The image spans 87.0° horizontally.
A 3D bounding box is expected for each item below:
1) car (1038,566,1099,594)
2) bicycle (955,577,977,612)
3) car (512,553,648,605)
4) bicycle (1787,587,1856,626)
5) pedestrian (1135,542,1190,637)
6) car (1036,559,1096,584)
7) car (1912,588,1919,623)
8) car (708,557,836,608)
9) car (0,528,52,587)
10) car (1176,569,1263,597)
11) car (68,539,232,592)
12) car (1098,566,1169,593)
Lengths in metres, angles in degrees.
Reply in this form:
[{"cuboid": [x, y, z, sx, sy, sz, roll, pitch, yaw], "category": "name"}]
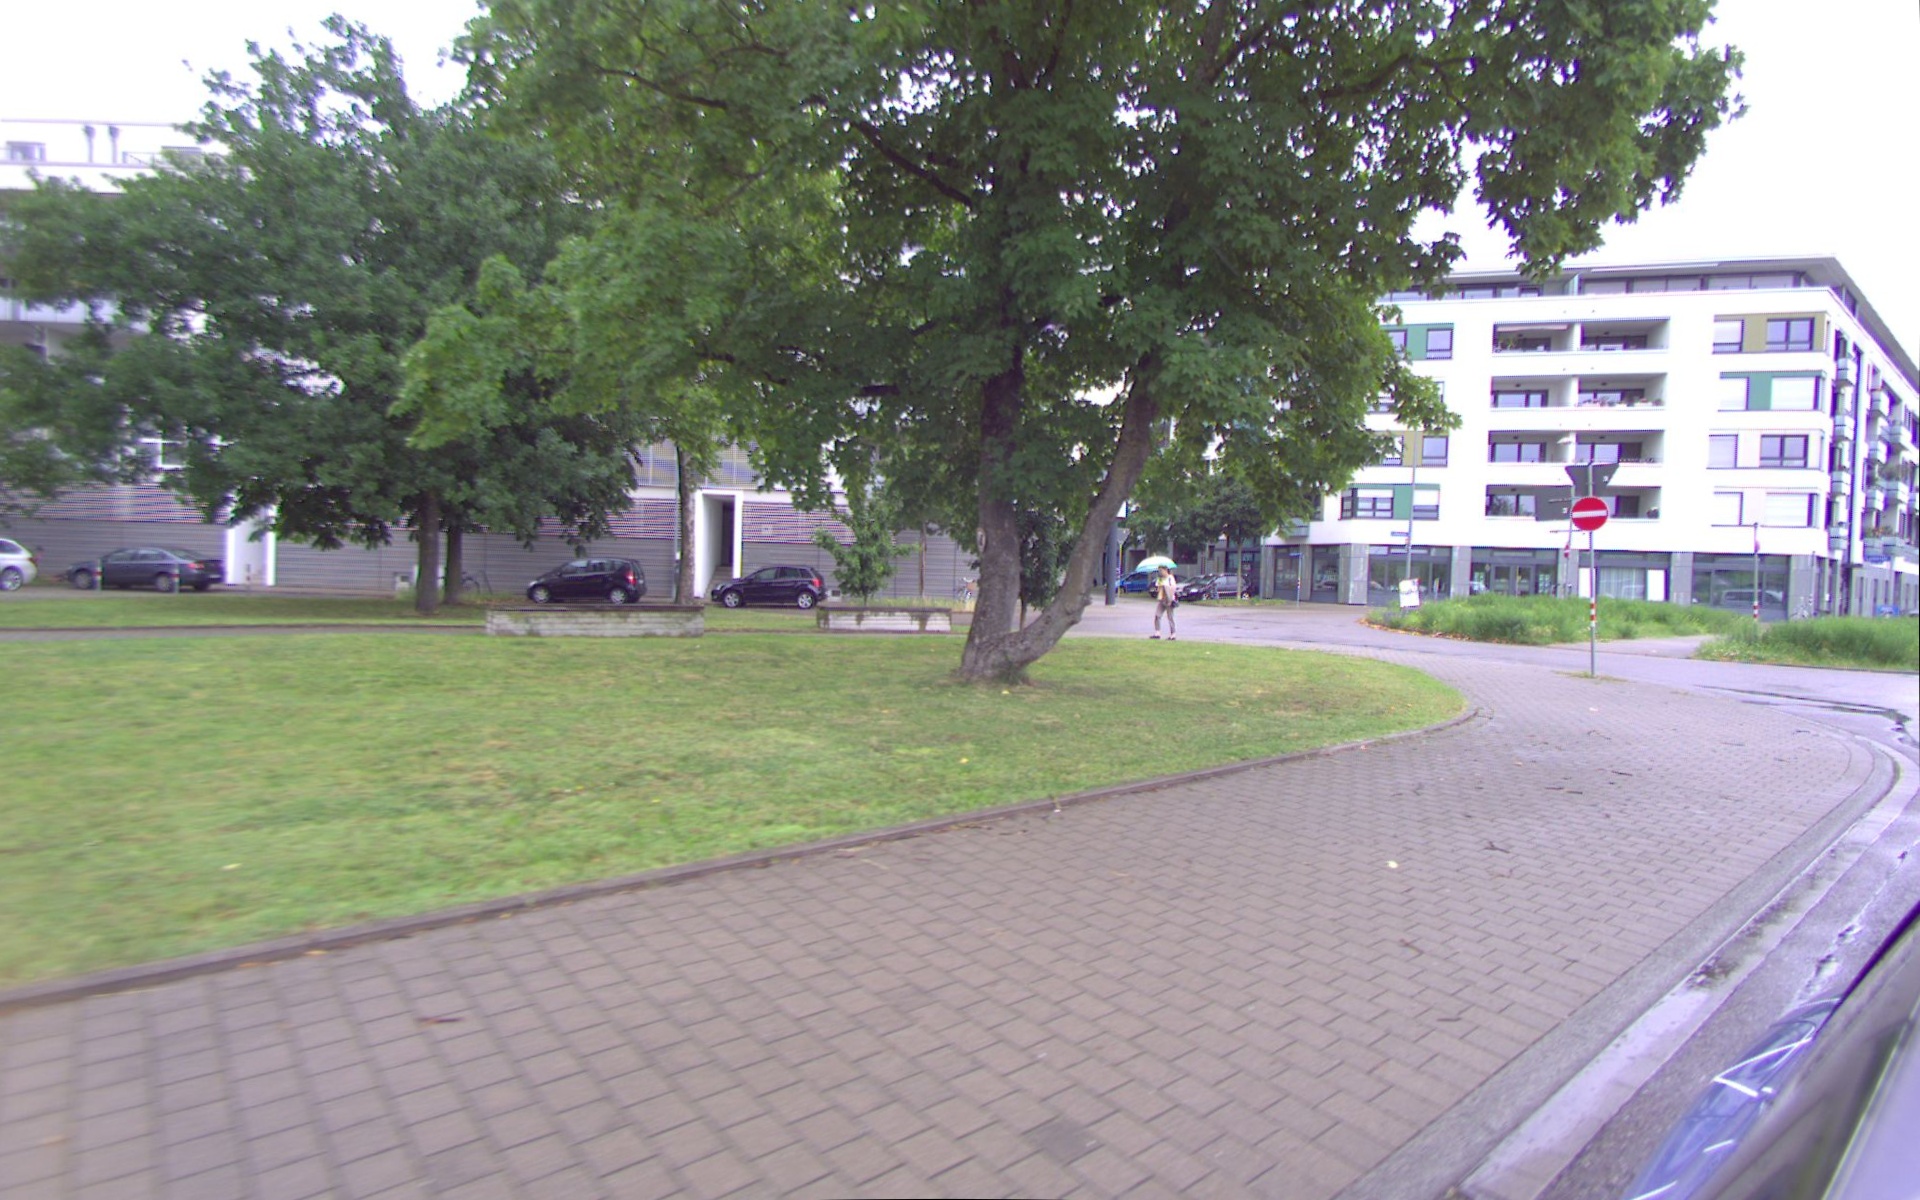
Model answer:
[{"cuboid": [5.987, -1.114, 56.265, 1.958, 1.433, 3.836, 1, 2, -18], "category": "car"}, {"cuboid": [0.199, -0.216, 34.298, 0.712, 1.101, 2.485, 2, 2, 0], "category": "bicycle"}, {"cuboid": [-12.733, -0.714, 34.049, 3.923, 1.567, 1.736, 2, 1, -2], "category": "car"}, {"cuboid": [37.345, 0.261, 43.900, 0.617, 1.541, 2.200, 1, 2, -20], "category": "bicycle"}, {"cuboid": [4.460, -0.247, 22.318, 0.611, 2.038, 0.967, 1, 1, -40], "category": "pedestrian"}, {"cuboid": [7.990, -2.182, 76.216, 4.016, 1.775, 1.818, 1, 2, -18], "category": "car"}, {"cuboid": [47.539, 0.414, 47.392, 1.932, 1.643, 4.098, 0, 5, -42], "category": "car"}, {"cuboid": [-6.288, -0.591, 34.162, 4.041, 1.567, 1.736, 2, 1, -2], "category": "car"}, {"cuboid": [-25.662, -1.131, 25.297, 1.594, 1.526, 4.836, 2, 0, 0], "category": "car"}, {"cuboid": [14.752, -0.986, 57.545, 4.428, 1.450, 1.818, 1, 2, -18], "category": "car"}, {"cuboid": [-27.155, -1.187, 34.015, 4.064, 1.567, 1.776, 2, 3, -2], "category": "car"}, {"cuboid": [11.468, -1.353, 66.897, 4.258, 1.671, 1.745, 1, 2, -13], "category": "car"}]
